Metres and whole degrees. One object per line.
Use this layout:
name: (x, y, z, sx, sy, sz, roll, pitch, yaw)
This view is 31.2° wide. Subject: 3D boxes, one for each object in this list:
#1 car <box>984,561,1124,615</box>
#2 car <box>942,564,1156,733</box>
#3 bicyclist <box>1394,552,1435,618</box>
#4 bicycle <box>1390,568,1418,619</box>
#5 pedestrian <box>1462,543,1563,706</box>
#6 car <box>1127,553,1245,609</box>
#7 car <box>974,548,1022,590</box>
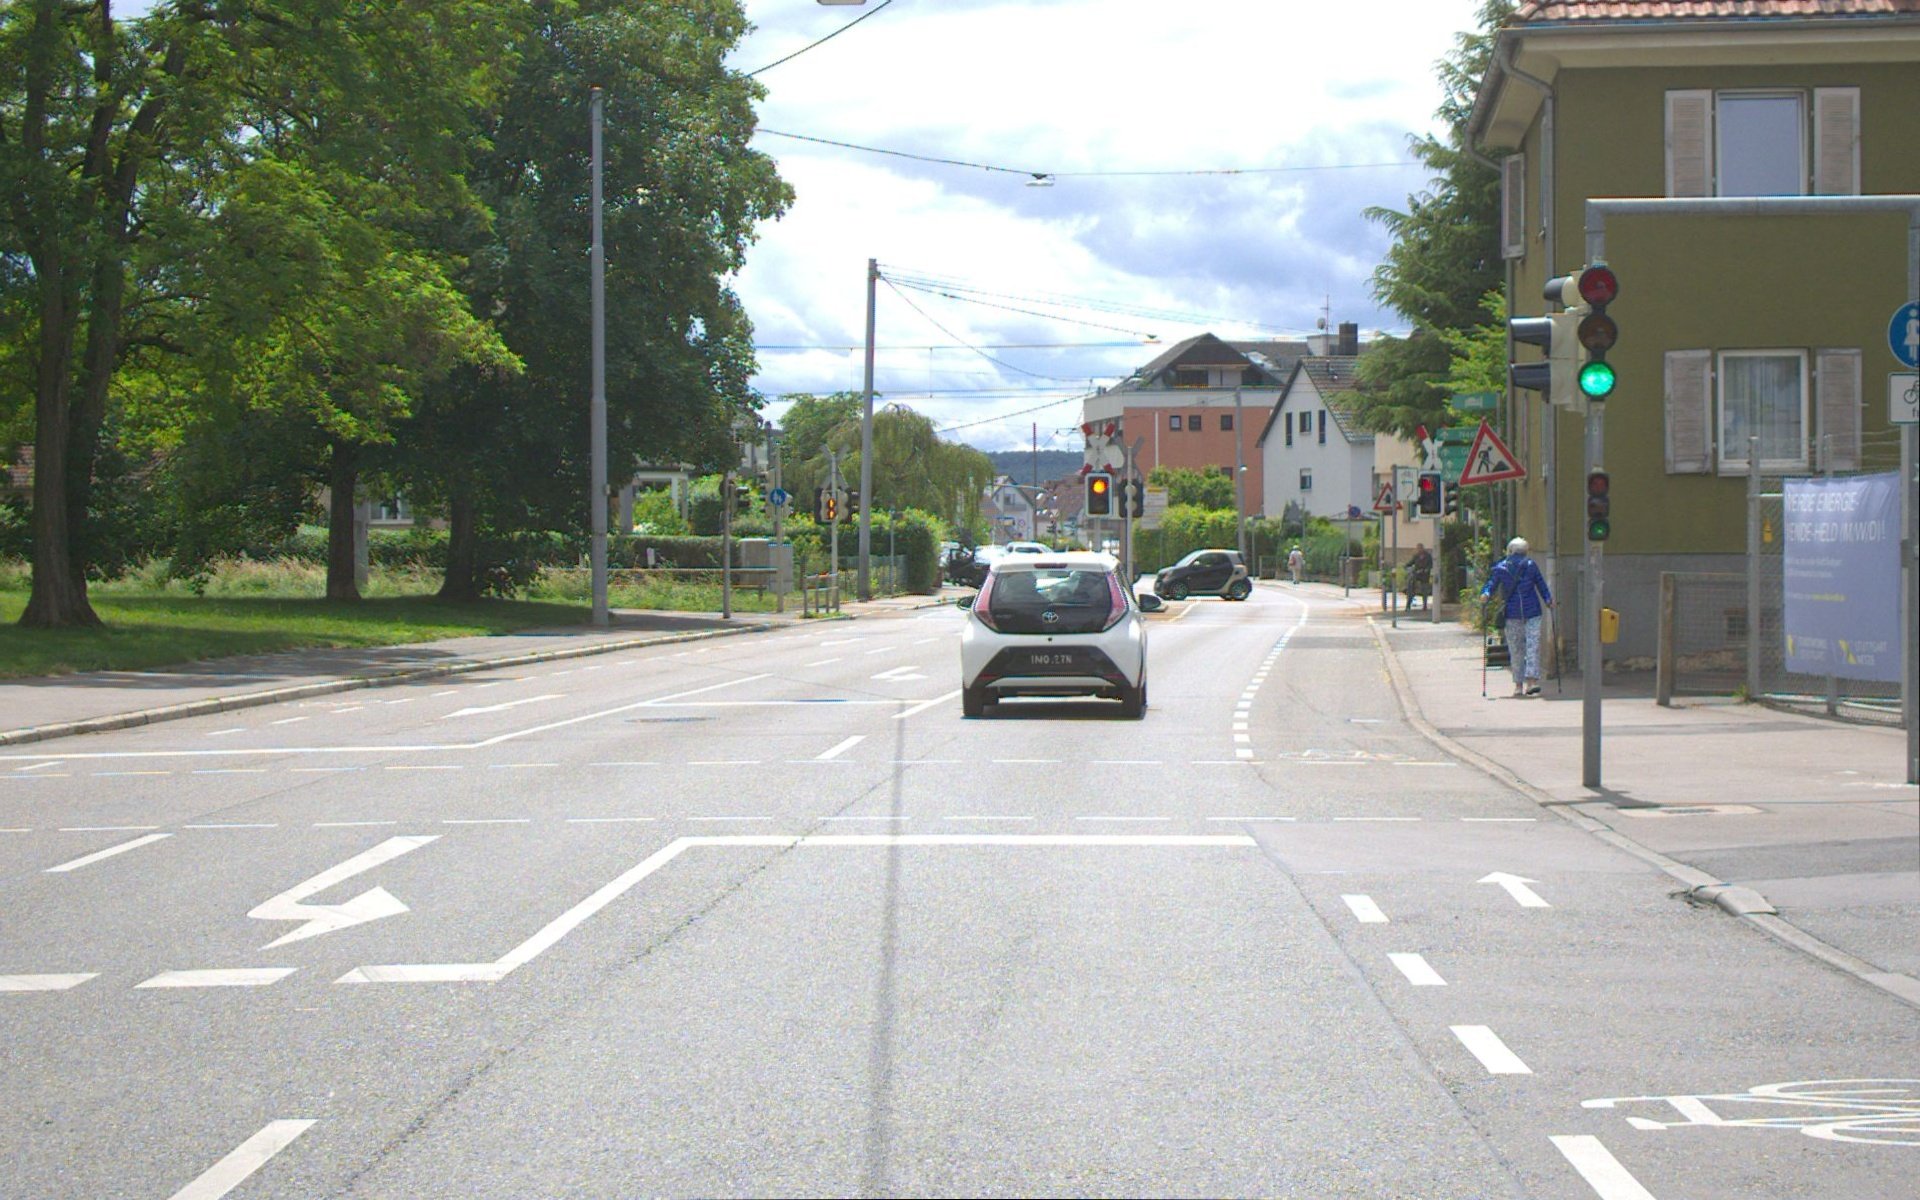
car: (2.617, -0.336, 94.561, 1.909, 1.436, 4.090, 1, 1, 35)
car: (0.876, 0.404, 31.707, 1.721, 1.437, 3.708, 1, 1, 5)
bicyclist: (11.265, -0.378, 85.243, 0.840, 1.548, 0.756, -3, 3, 1)
bicycle: (11.018, -0.173, 85.309, 0.457, 1.168, 1.479, -3, 3, 1)
pedestrian: (5.459, 0.233, 34.027, 0.823, 1.567, 0.988, -1, 0, 2)
car: (6.799, -0.577, 103.594, 3.348, 1.650, 1.728, 1, 0, -4)
car: (1.619, -1.317, 146.067, 1.993, 1.713, 4.000, 1, 1, 0)
